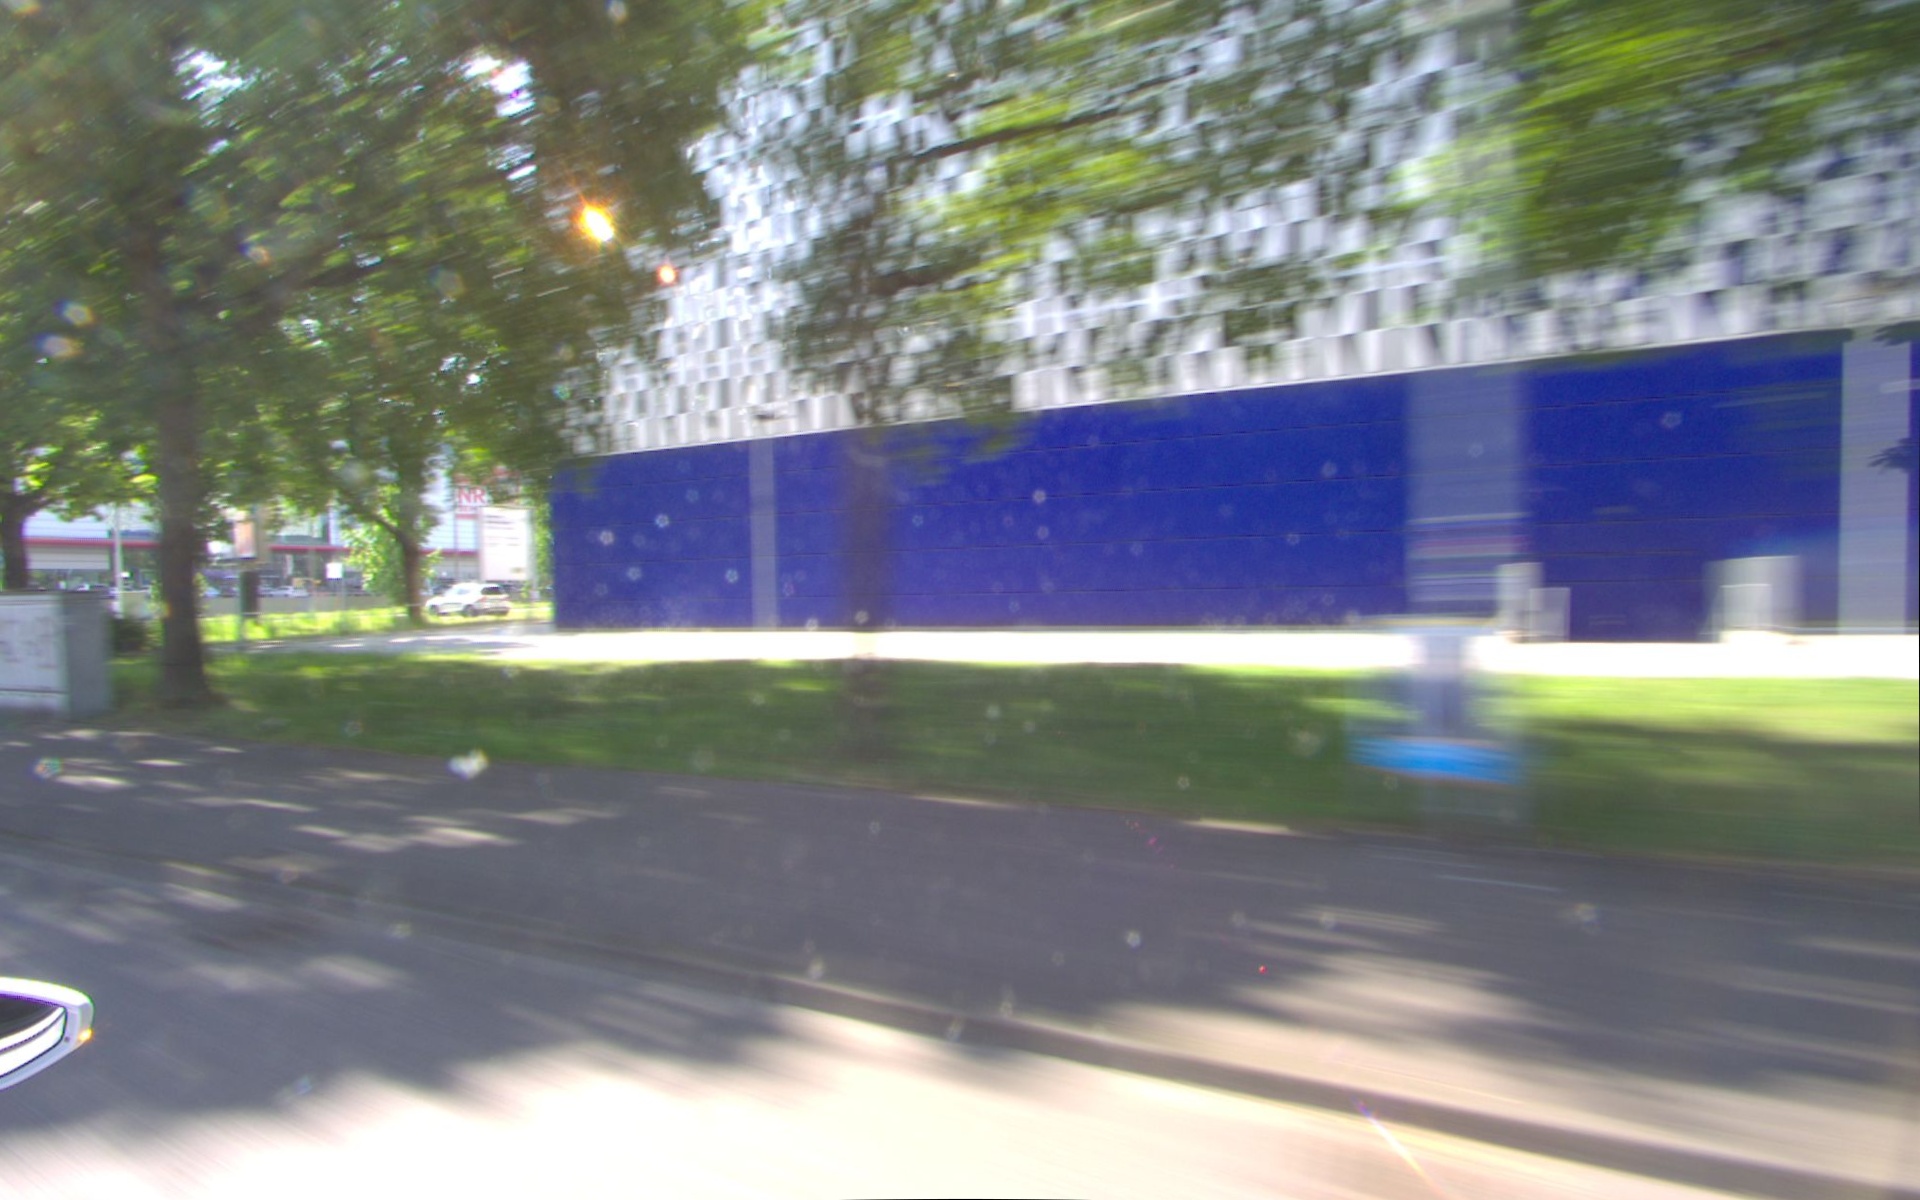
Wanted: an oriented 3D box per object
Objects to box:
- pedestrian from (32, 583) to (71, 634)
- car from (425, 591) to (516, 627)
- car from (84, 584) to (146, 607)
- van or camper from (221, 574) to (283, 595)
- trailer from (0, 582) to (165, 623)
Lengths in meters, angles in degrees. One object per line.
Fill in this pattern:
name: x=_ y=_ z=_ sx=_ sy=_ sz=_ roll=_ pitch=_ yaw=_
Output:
pedestrian: x=-32.213 y=0.306 z=35.506 sx=0.790 sy=1.794 sz=0.628 roll=-1 pitch=2 yaw=15
car: x=-21.542 y=0.384 z=44.055 sx=3.870 sy=1.509 sz=1.782 roll=-1 pitch=1 yaw=32
car: x=-79.909 y=-0.416 z=94.762 sx=1.967 sy=2.040 sz=3.989 roll=1 pitch=-1 yaw=24
van or camper: x=-74.008 y=-1.578 z=104.731 sx=1.967 sy=2.040 sz=4.985 roll=1 pitch=-1 yaw=25
trailer: x=-59.674 y=0.193 z=65.738 sx=1.969 sy=2.501 sz=11.862 roll=1 pitch=-1 yaw=29
